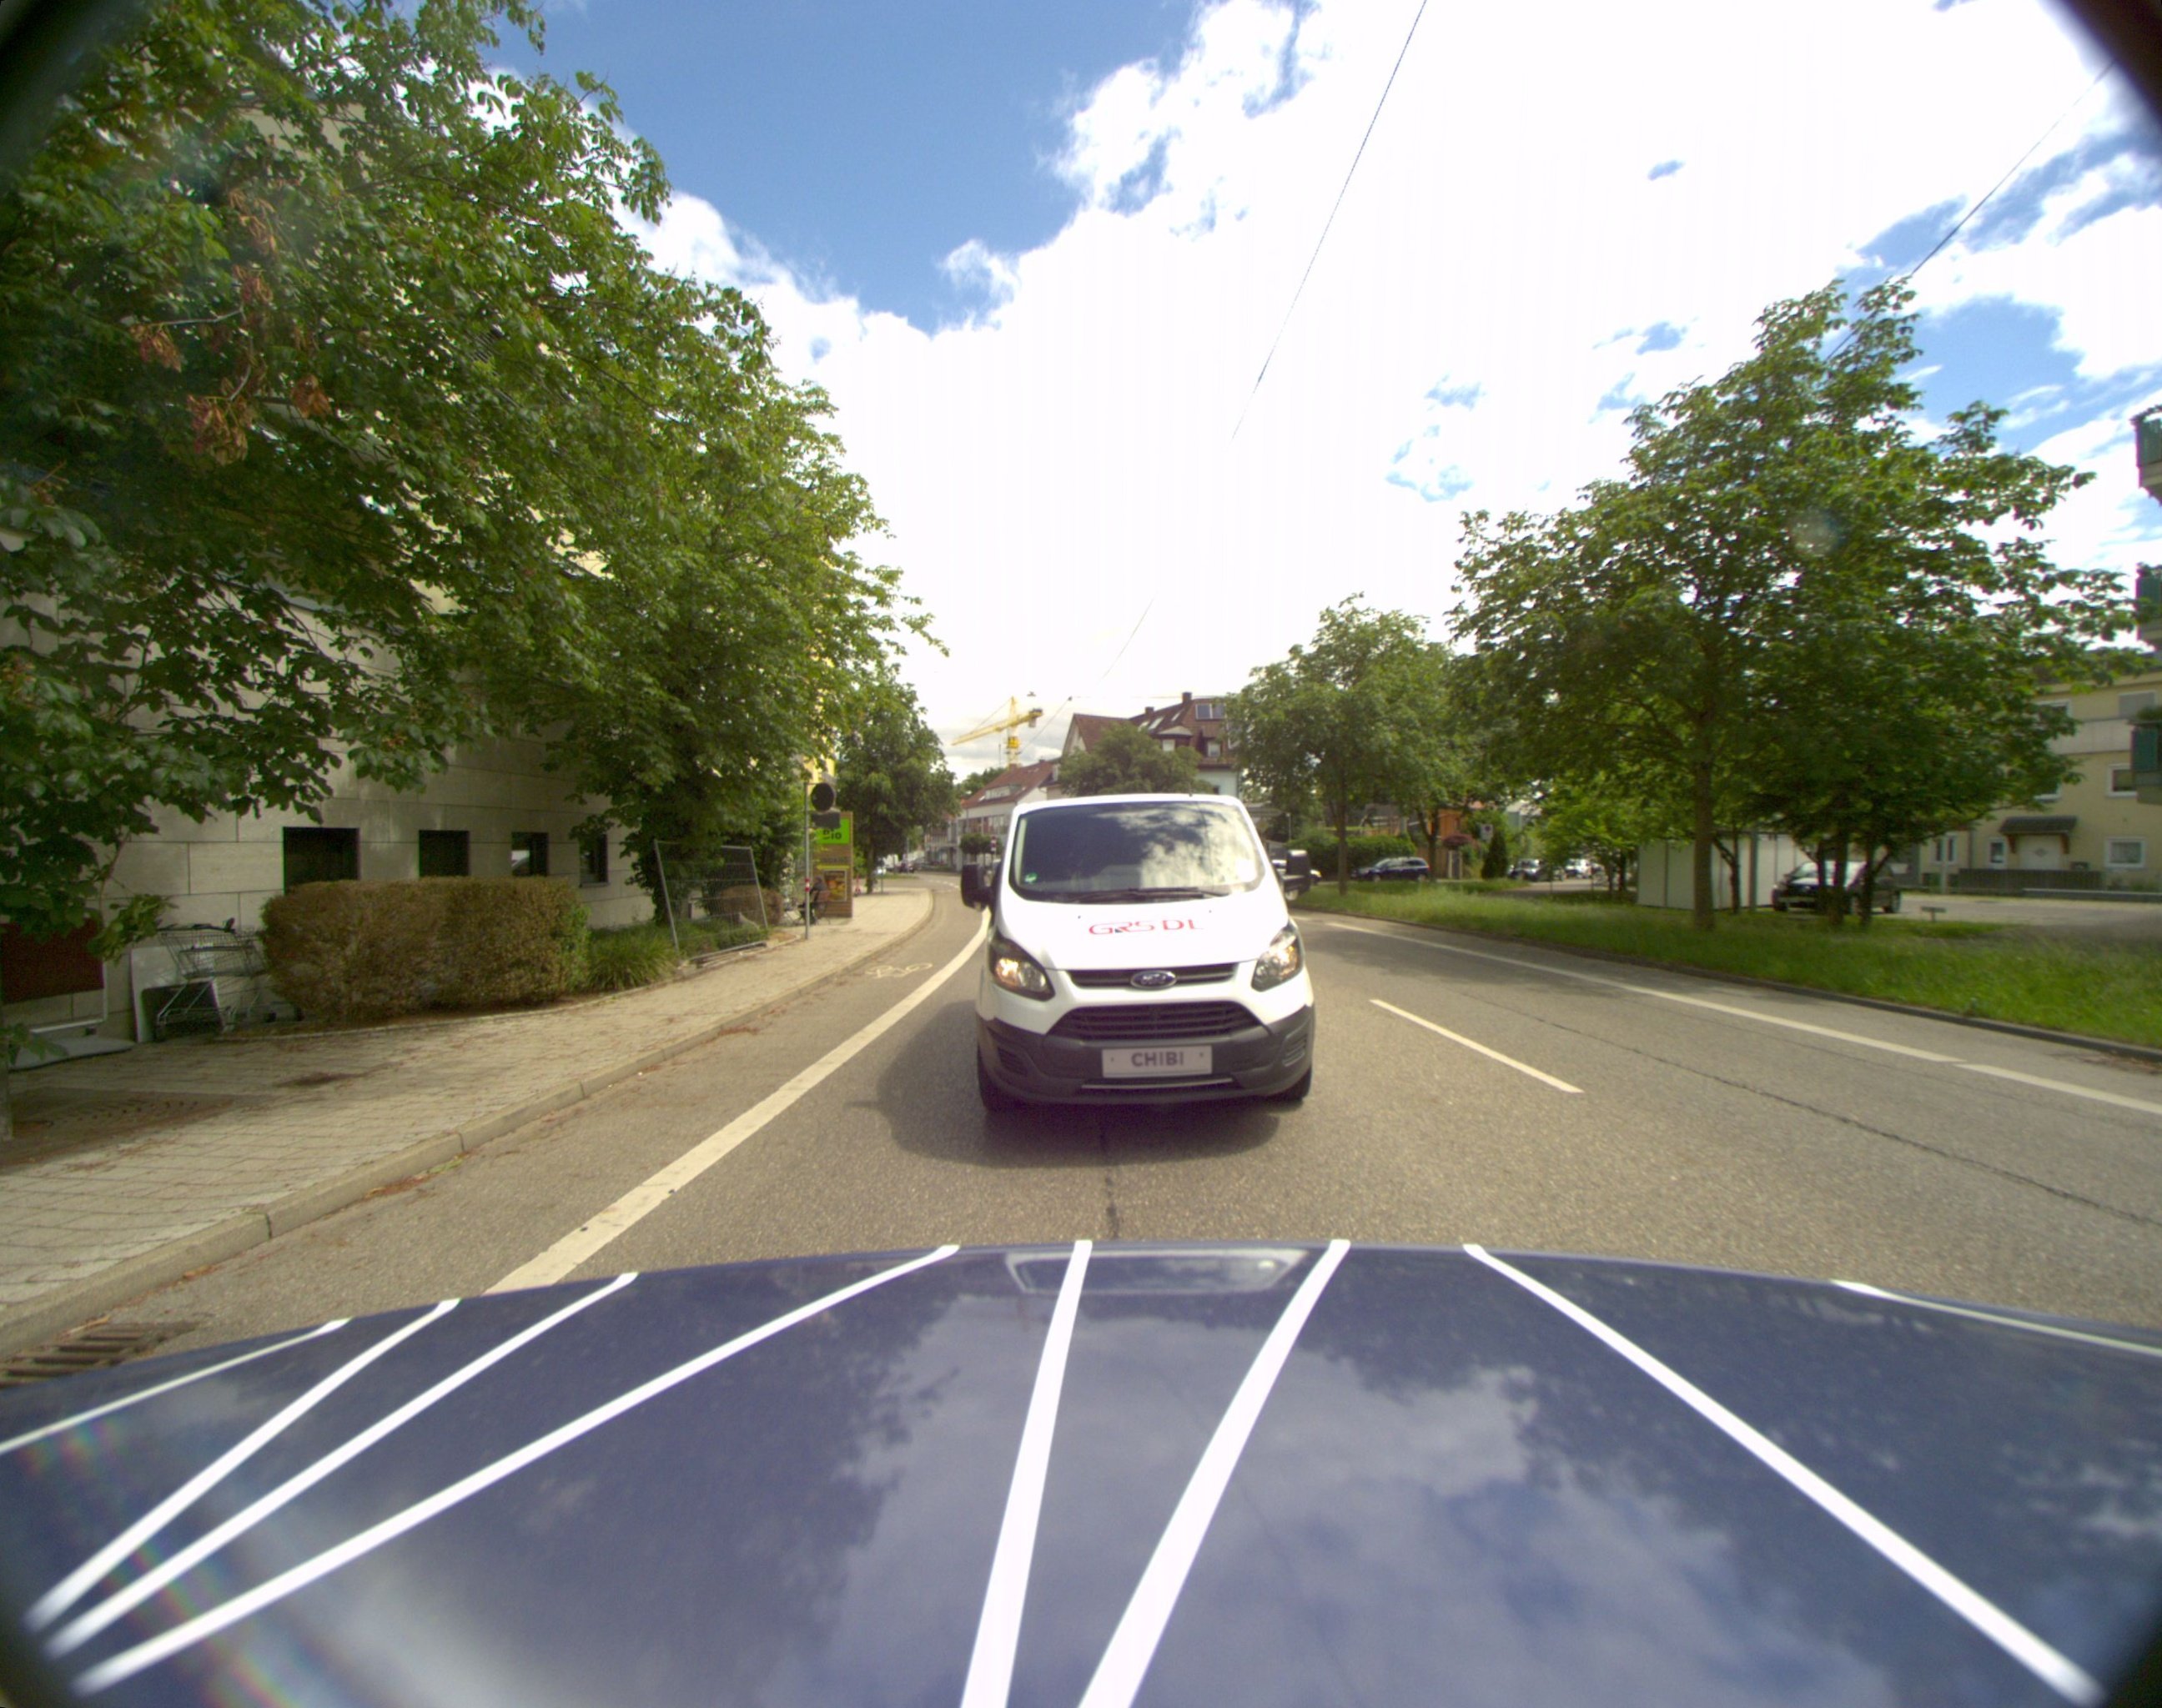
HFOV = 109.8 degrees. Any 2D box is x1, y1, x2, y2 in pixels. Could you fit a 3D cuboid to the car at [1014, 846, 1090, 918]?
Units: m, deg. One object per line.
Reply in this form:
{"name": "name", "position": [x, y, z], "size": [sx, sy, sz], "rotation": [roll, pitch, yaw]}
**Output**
{"name": "car", "position": [-0.935, 0.713, 22.150], "size": [1.853, 1.805, 3.997], "rotation": [-3, 1, -6]}

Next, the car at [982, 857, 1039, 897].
{"name": "car", "position": [-3.034, 0.913, 31.966], "size": [1.695, 1.477, 3.994], "rotation": [-3, 1, -15]}

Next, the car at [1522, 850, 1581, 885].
{"name": "car", "position": [30.188, 0.838, 48.736], "size": [4.007, 2.002, 1.995], "rotation": [-3, 2, -40]}

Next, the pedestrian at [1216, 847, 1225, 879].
{"name": "pedestrian", "position": [8.638, 0.551, 47.083], "size": [0.383, 1.979, 0.443], "rotation": [-3, 2, 0]}

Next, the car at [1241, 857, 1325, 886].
{"name": "car", "position": [10.835, 0.929, 40.751], "size": [4.046, 1.314, 1.534], "rotation": [-3, 1, -13]}

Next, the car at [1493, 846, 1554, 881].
{"name": "car", "position": [26.897, 0.546, 46.172], "size": [4.008, 2.002, 1.976], "rotation": [-1, 0, -40]}

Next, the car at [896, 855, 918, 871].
{"name": "car", "position": [-20.609, 1.000, 89.988], "size": [1.744, 1.840, 3.991], "rotation": [0, 0, -26]}

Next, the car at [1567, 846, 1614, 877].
{"name": "car", "position": [36.885, 0.517, 54.938], "size": [4.007, 2.002, 1.893], "rotation": [-4, 2, -42]}

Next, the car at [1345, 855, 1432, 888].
{"name": "car", "position": [16.497, 0.943, 40.889], "size": [3.976, 1.672, 1.717], "rotation": [0, 1, -3]}

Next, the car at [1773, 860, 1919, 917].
{"name": "car", "position": [20.984, 0.926, 20.833], "size": [4.007, 1.411, 1.789], "rotation": [2, -1, -29]}

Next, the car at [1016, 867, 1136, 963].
{"name": "car", "position": [-0.197, 0.977, 13.711], "size": [1.840, 1.382, 3.998], "rotation": [0, 0, -4]}

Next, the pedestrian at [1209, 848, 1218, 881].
{"name": "pedestrian", "position": [8.184, 0.664, 47.074], "size": [0.425, 2.002, 0.363], "rotation": [-3, 2, 1]}

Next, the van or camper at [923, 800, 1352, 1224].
{"name": "van or camper", "position": [0.353, 0.744, 6.155], "size": [2.027, 2.002, 5.103], "rotation": [0, 0, 2]}

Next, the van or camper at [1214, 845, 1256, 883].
{"name": "van or camper", "position": [9.067, 0.558, 44.920], "size": [1.794, 2.077, 3.811], "rotation": [-3, 1, 2]}

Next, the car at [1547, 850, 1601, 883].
{"name": "car", "position": [33.364, 0.807, 51.353], "size": [4.007, 2.002, 1.994], "rotation": [-4, 2, -41]}

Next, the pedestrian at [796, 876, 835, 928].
{"name": "pedestrian", "position": [-6.835, 1.221, 19.564], "size": [0.731, 1.293, 0.754], "rotation": [0, 1, 0]}
